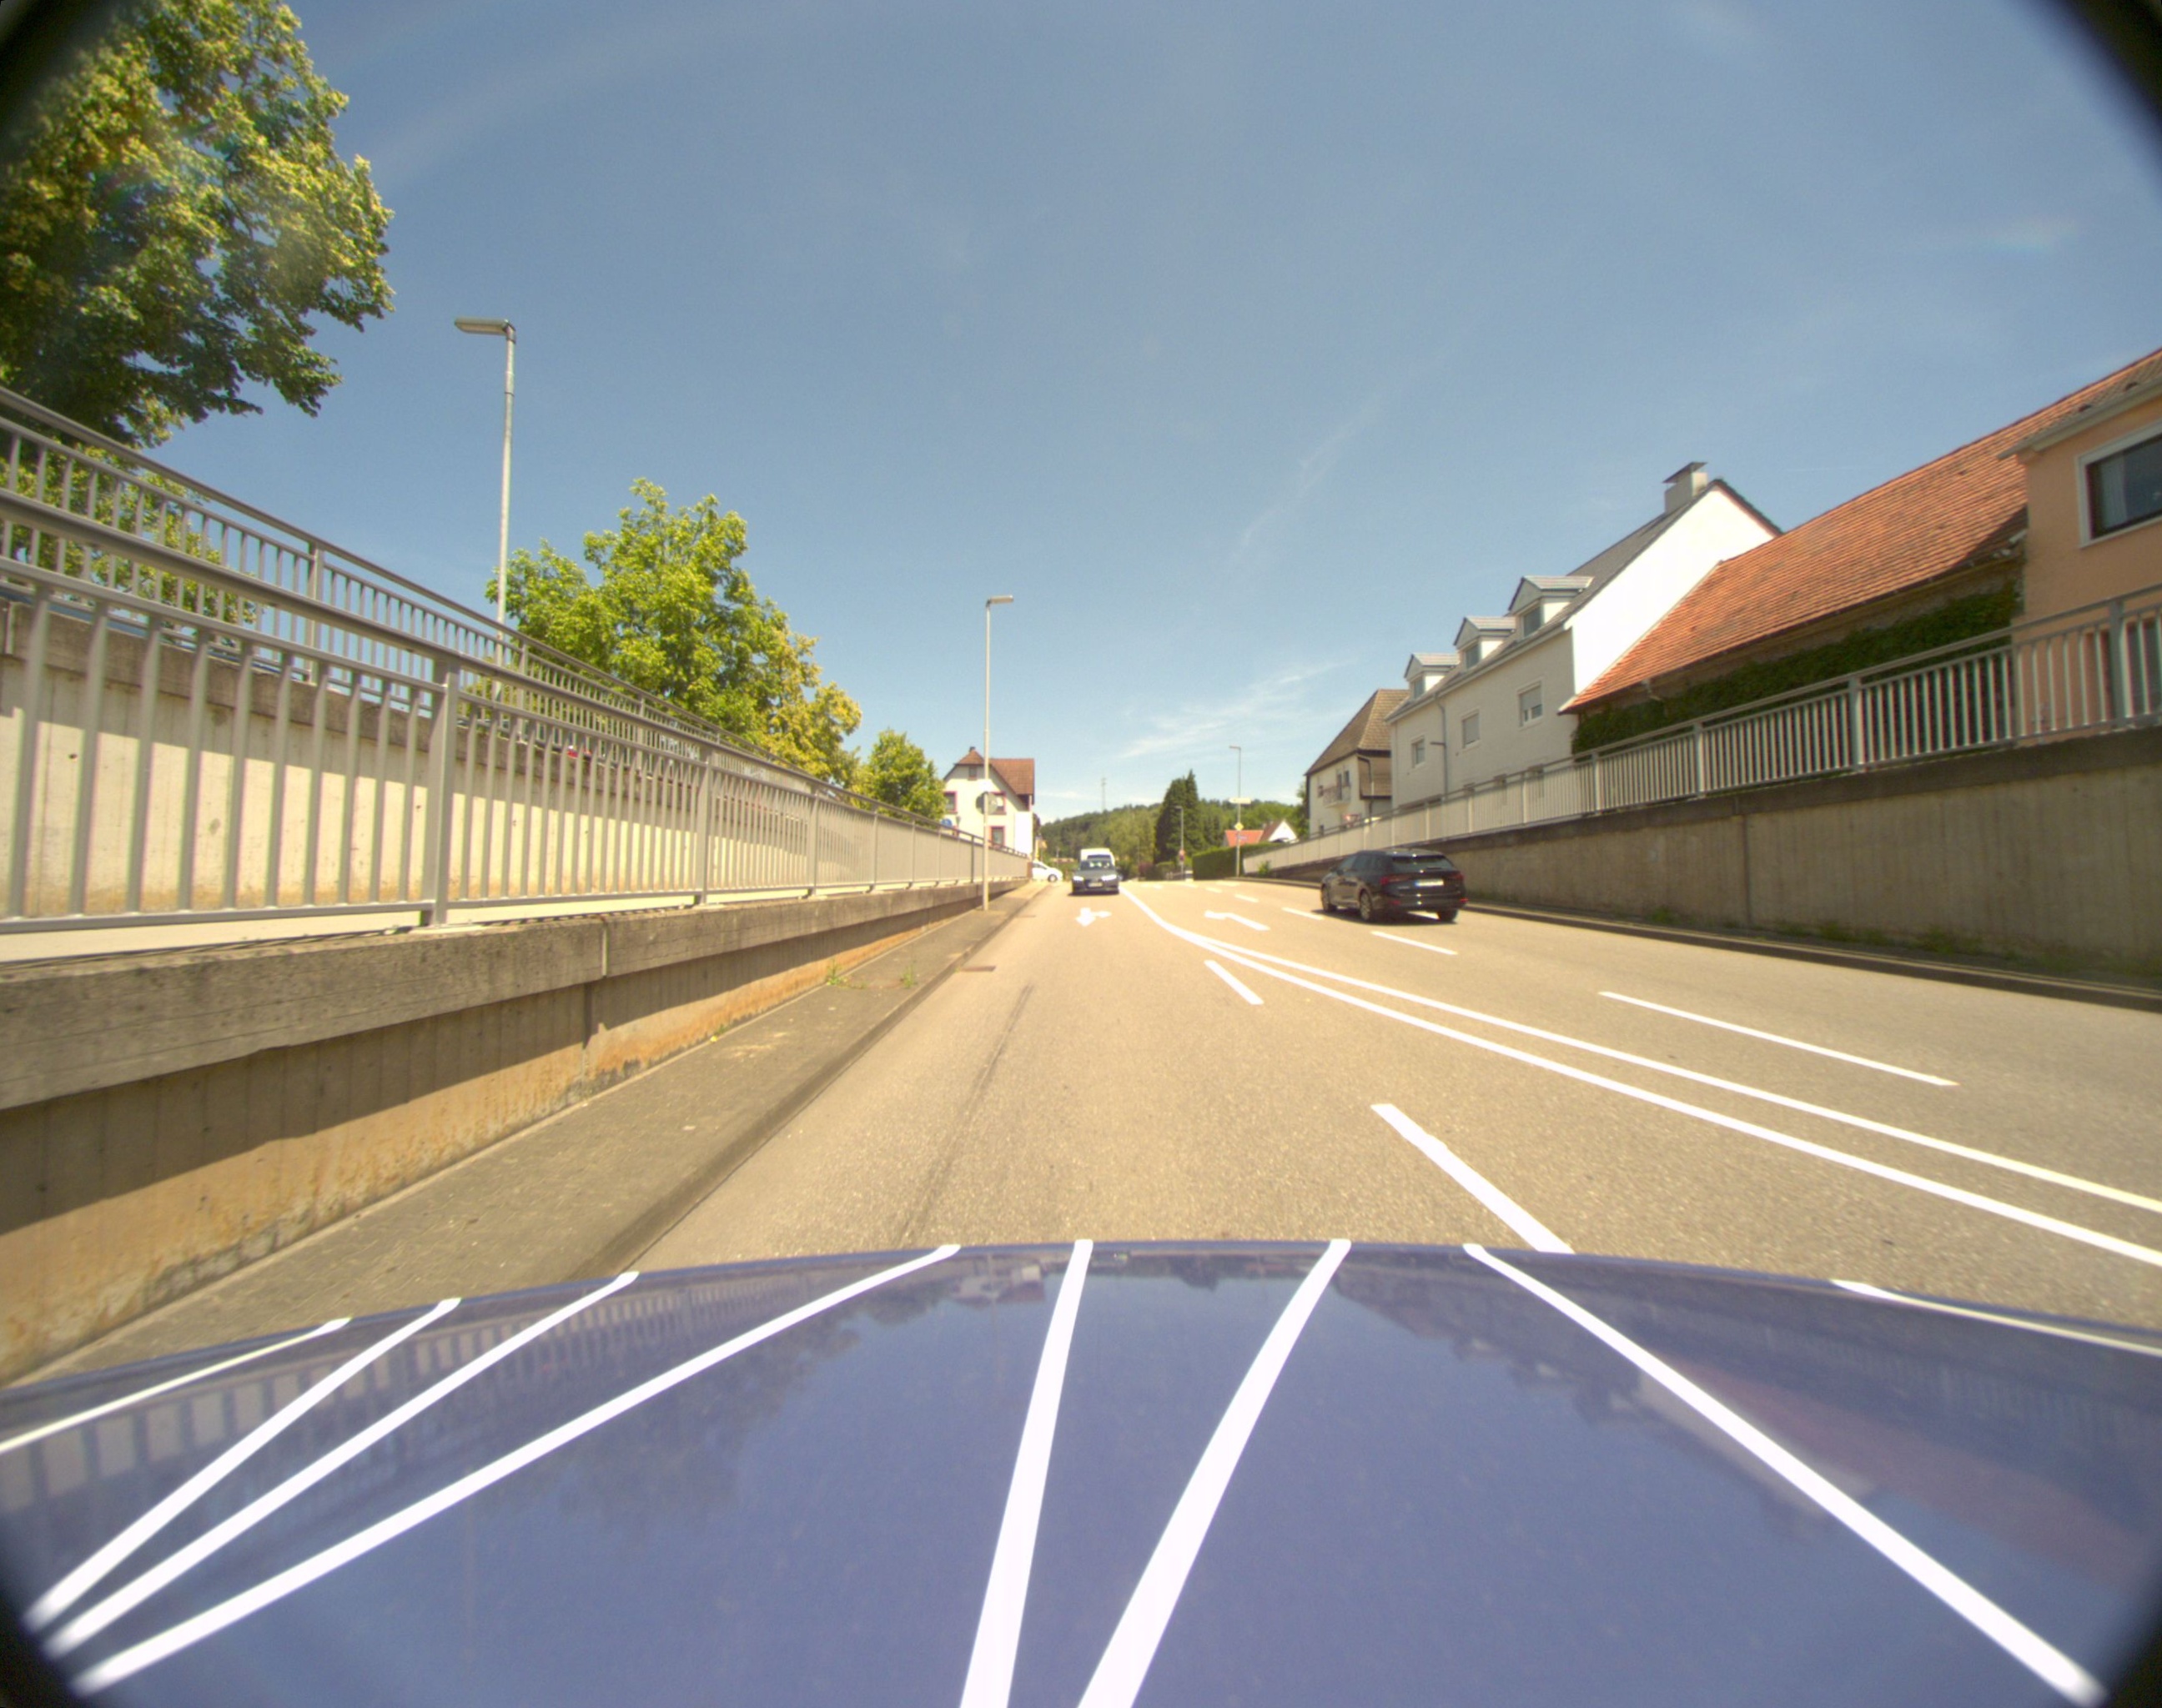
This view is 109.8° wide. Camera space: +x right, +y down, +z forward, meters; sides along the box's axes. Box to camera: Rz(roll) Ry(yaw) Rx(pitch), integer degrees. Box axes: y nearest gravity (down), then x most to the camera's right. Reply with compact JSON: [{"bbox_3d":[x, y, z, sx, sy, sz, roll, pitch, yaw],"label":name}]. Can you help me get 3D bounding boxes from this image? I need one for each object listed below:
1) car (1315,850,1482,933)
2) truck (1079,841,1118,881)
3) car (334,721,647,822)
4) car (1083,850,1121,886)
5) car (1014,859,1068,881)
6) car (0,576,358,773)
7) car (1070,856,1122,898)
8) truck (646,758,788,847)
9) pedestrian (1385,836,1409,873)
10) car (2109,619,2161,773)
[{"bbox_3d":[6.551,0.689,16.246,1.765,1.480,4.368,-2,0,1],"label":"car"},{"bbox_3d":[1.563,0.784,71.450,3.149,3.465,8.273,-1,-2,-2],"label":"truck"},{"bbox_3d":[-10.262,-1.397,13.416,4.215,1.489,1.687,0,-3,1],"label":"car"},{"bbox_3d":[1.224,0.801,45.691,1.999,2.002,4.547,-2,1,-1],"label":"car"},{"bbox_3d":[-2.842,1.123,53.623,3.681,1.469,1.775,1,-1,-5],"label":"car"},{"bbox_3d":[-10.400,-1.724,7.799,4.296,1.489,1.749,0,-3,1],"label":"car"},{"bbox_3d":[0.523,0.843,29.901,1.864,1.441,3.999,-2,0,-1],"label":"car"},{"bbox_3d":[-11.737,-1.542,25.024,2.138,2.319,5.262,-1,-3,0],"label":"truck"},{"bbox_3d":[14.959,0.038,35.973,0.729,1.719,0.856,-2,0,-3],"label":"pedestrian"},{"bbox_3d":[11.564,-1.704,5.664,1.818,1.453,4.311,-2,-3,-2],"label":"car"}]
